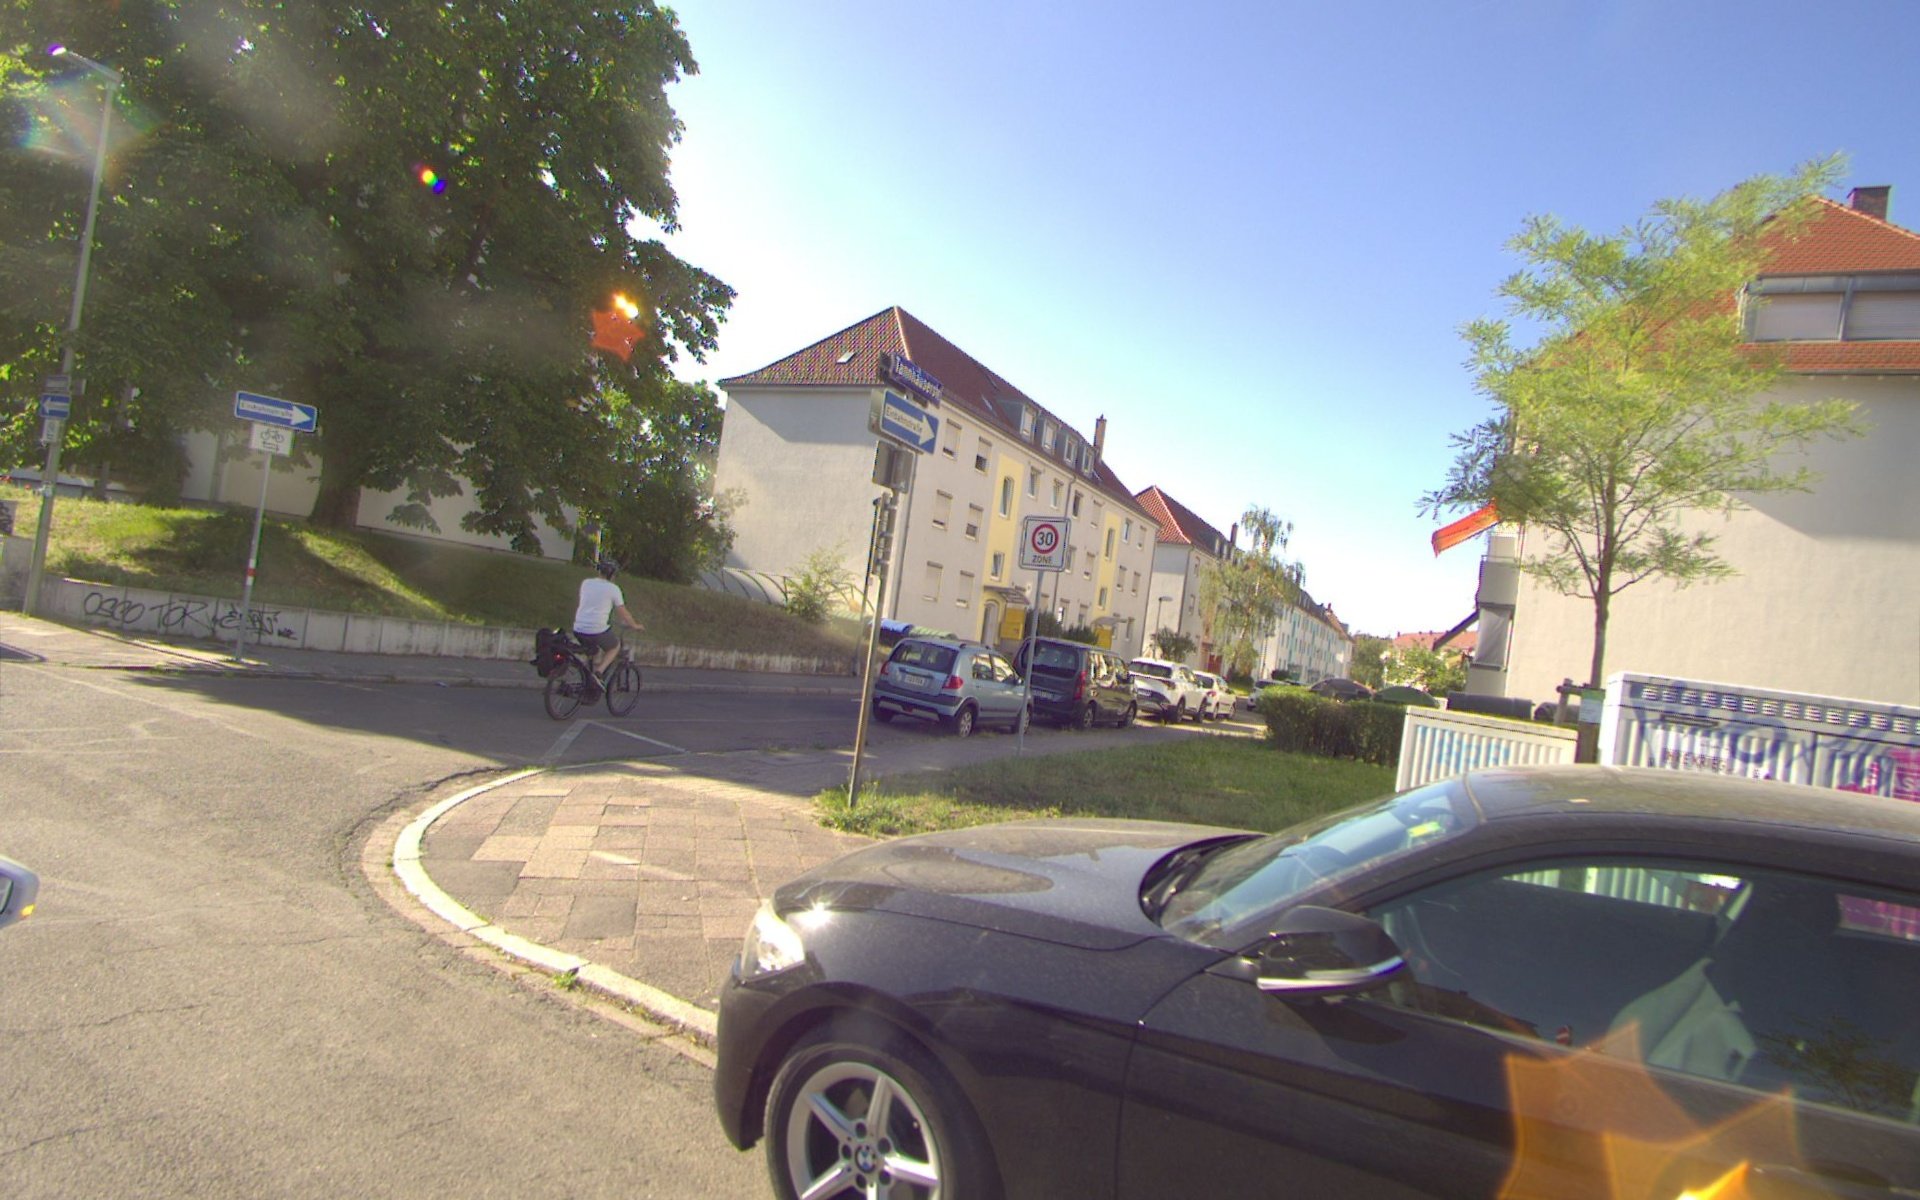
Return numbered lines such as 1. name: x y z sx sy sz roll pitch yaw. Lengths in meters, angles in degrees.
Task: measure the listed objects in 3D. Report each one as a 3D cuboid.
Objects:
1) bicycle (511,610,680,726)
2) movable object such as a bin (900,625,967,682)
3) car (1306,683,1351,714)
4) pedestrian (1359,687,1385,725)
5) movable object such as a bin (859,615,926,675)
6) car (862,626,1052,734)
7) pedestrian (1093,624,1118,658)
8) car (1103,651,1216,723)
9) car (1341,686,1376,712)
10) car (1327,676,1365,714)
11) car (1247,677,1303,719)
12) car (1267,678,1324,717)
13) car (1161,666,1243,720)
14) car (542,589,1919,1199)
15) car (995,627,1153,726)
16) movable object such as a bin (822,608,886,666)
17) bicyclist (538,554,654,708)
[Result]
1. bicycle: -4.105 0.792 11.488 0.651 1.140 1.767 8 -2 23
2. movable object such as a bin: -0.804 1.657 30.961 1.471 1.495 1.264 7 -1 28
3. car: 21.993 5.886 60.002 1.867 1.513 4.090 7 -2 28
4. pedestrian: 23.976 6.180 58.538 1.026 2.037 1.022 7 -1 30
5. movable object such as a bin: -2.121 1.408 31.587 1.478 1.641 1.263 7 -1 28
6. car: 0.083 1.404 17.326 1.629 1.445 3.900 7 -2 25
7. pedestrian: 8.161 2.279 56.441 0.957 1.735 0.946 7 -1 28
8. car: 5.724 2.483 28.436 1.954 1.610 4.124 7 -2 27
9. car: 29.072 7.246 73.293 1.780 1.568 3.998 7 -2 28
10. car: 24.980 6.167 65.006 1.596 2.168 3.998 7 -2 28
11. car: 13.805 4.304 44.012 1.608 1.508 3.622 9 -1 27
12. car: 16.148 4.704 48.338 1.809 1.575 3.998 7 -2 28
13. car: 8.092 3.107 33.389 1.731 1.448 3.628 8 -2 27
14. car: 1.380 1.015 2.438 4.421 1.500 1.962 7 0 28
15. car: 2.631 1.724 22.179 1.837 1.750 4.293 7 -2 28
16. movable object such as a bin: -3.403 1.191 32.255 1.438 1.632 1.190 7 -1 28
17. bicyclist: -4.105 0.370 11.386 0.683 1.614 0.791 7 -1 23
